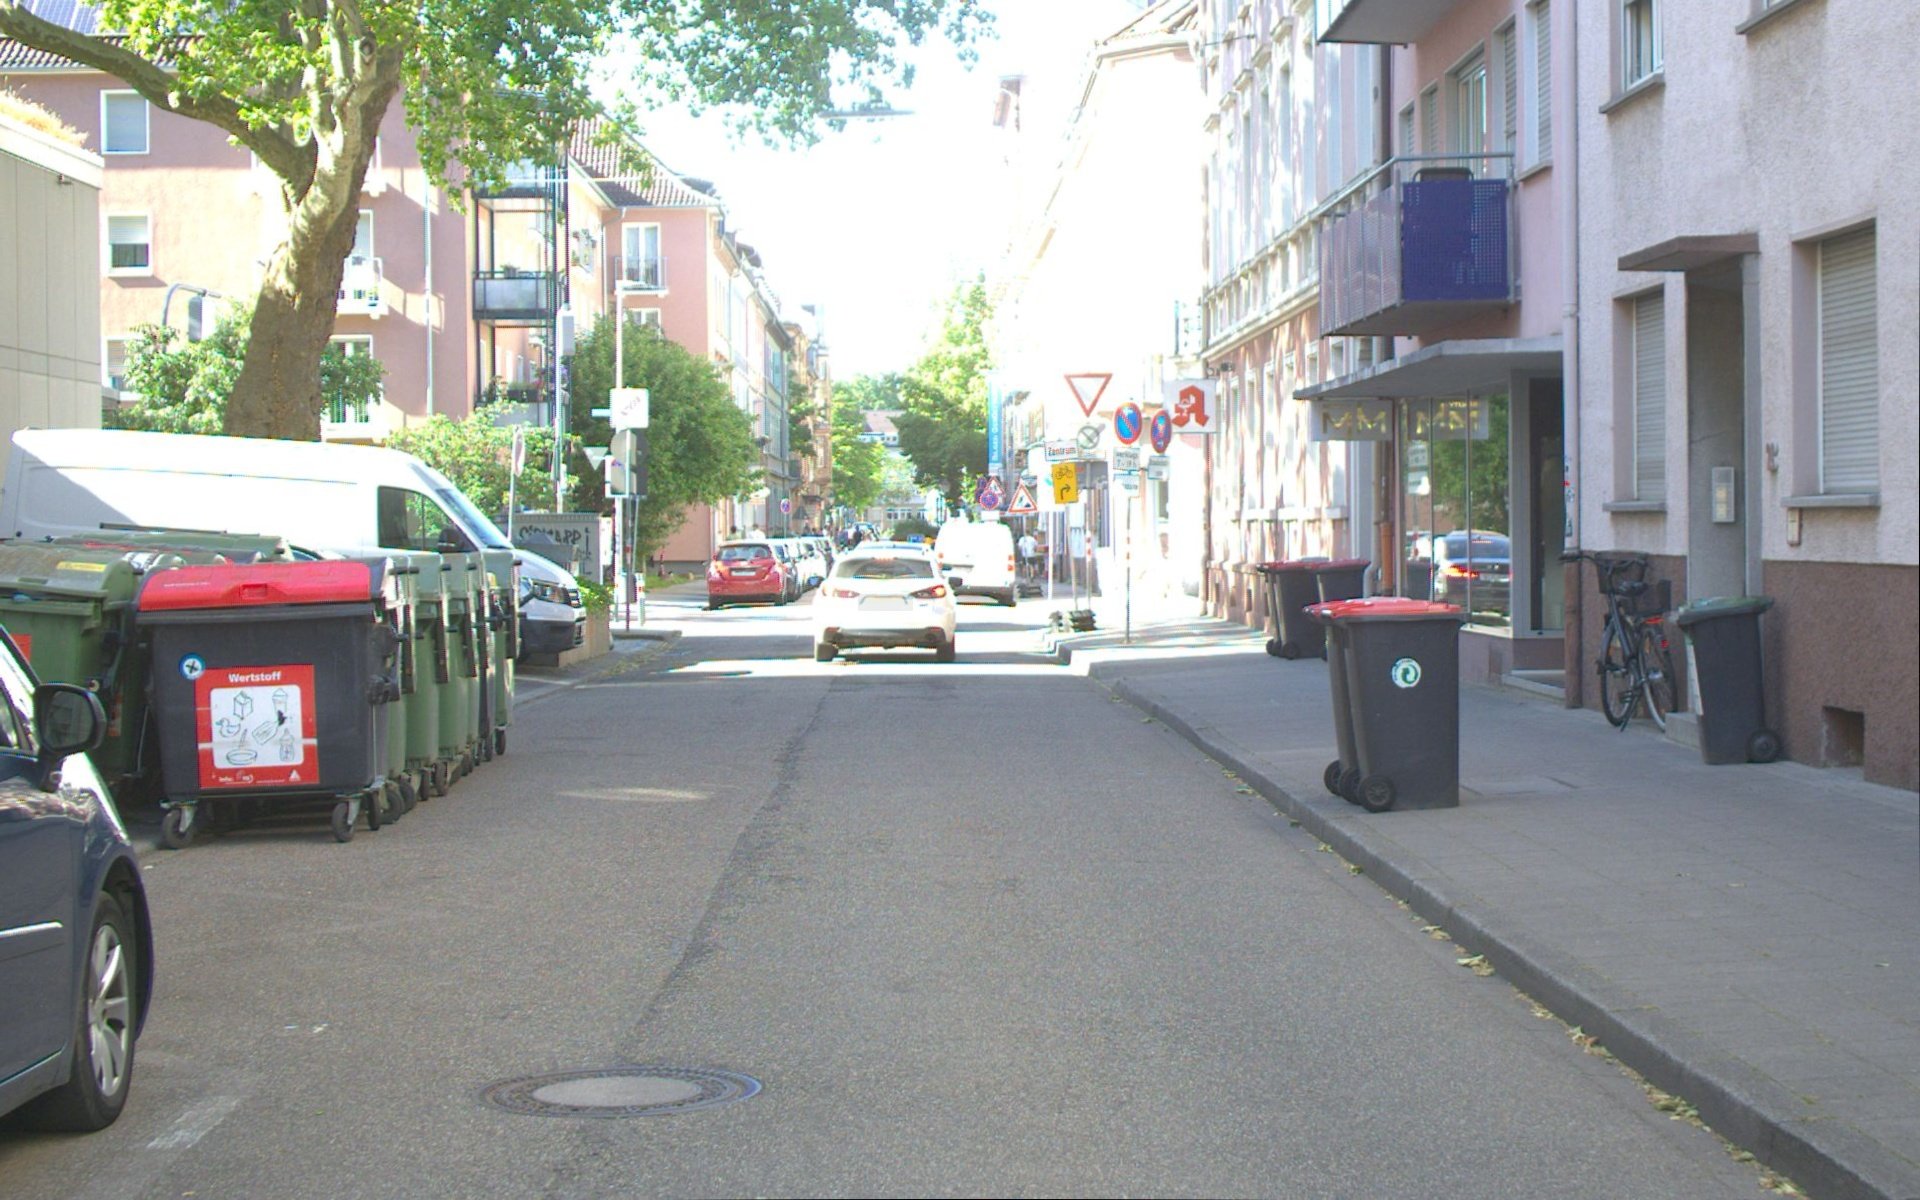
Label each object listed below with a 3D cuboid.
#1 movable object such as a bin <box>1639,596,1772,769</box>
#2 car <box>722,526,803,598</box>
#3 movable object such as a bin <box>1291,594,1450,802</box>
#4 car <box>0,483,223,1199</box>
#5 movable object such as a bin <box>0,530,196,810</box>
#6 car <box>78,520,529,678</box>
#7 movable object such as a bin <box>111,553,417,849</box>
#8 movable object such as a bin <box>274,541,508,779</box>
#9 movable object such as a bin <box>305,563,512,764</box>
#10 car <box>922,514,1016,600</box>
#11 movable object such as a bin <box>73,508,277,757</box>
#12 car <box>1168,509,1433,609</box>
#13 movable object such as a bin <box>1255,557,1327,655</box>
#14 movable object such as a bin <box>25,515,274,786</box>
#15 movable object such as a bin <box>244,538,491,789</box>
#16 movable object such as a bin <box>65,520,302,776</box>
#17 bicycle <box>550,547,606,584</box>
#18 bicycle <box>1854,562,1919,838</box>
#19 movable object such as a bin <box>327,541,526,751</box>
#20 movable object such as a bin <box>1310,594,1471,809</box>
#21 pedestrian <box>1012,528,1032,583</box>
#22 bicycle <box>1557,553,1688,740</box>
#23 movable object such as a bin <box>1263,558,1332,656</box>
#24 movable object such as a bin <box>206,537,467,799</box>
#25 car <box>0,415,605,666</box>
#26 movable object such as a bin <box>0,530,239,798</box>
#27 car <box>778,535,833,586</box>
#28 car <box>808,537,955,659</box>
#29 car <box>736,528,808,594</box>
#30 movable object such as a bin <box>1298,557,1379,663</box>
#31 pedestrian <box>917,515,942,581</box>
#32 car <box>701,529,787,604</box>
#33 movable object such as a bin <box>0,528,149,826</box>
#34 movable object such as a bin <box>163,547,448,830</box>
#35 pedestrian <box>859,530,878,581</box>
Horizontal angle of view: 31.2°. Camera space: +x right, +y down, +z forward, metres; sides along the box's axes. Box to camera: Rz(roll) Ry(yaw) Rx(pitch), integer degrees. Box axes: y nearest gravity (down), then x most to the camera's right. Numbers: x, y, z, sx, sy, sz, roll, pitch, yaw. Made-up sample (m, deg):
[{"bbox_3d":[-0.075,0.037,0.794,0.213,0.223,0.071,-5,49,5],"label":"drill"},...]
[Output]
[{"bbox_3d":[4.201,0.458,19.400,0.598,0.948,0.682,0,0,0],"label":"movable object such as a bin"},{"bbox_3d":[-4.729,-0.914,82.809,1.720,1.677,3.726,0,1,0],"label":"car"},{"bbox_3d":[2.191,0.514,18.418,0.768,1.083,0.693,0,0,0],"label":"movable object such as a bin"},{"bbox_3d":[-3.014,0.595,7.575,1.782,1.661,4.671,-2,1,-1],"label":"car"},{"bbox_3d":[-4.989,0.369,18.963,1.305,1.494,1.157,0,0,-1],"label":"movable object such as a bin"},{"bbox_3d":[-7.124,-0.033,37.641,4.500,1.465,1.929,3,1,1],"label":"car"},{"bbox_3d":[-3.578,0.502,17.810,1.319,1.445,1.187,-2,0,-1],"label":"movable object such as a bin"},{"bbox_3d":[-3.645,0.372,22.132,1.334,1.486,1.082,0,0,-1],"label":"movable object such as a bin"},{"bbox_3d":[-3.708,0.415,23.223,1.241,1.317,1.046,0,0,-1],"label":"movable object such as a bin"},{"bbox_3d":[0.188,-1.013,80.455,1.942,1.941,4.079,1,1,-3],"label":"car"},{"bbox_3d":[-5.320,0.212,23.372,1.227,1.647,1.174,0,0,-6],"label":"movable object such as a bin"},{"bbox_3d":[6.851,-0.824,69.172,4.896,1.922,1.997,1,-1,24],"label":"car"},{"bbox_3d":[3.707,0.059,38.523,0.745,1.082,0.635,0,0,1],"label":"movable object such as a bin"},{"bbox_3d":[-4.943,0.300,21.042,1.294,1.615,1.018,0,0,-1],"label":"movable object such as a bin"},{"bbox_3d":[-3.611,0.375,21.063,1.343,1.494,1.018,0,0,-1],"label":"movable object such as a bin"},{"bbox_3d":[-4.976,0.298,22.107,1.288,1.599,1.082,0,0,-1],"label":"movable object such as a bin"},{"bbox_3d":[-9.837,-0.889,88.469,0.603,0.929,1.915,-1,1,-34],"label":"bicycle"},{"bbox_3d":[4.376,0.435,14.521,0.536,1.166,2.077,-4,1,-1],"label":"bicycle"},{"bbox_3d":[-3.754,0.314,24.321,1.300,1.446,1.118,0,0,-4],"label":"movable object such as a bin"},{"bbox_3d":[2.209,0.513,17.704,0.732,1.077,0.703,0,0,0],"label":"movable object such as a bin"},{"bbox_3d":[1.953,-1.412,108.281,0.617,1.727,0.560,0,0,-1],"label":"pedestrian"},{"bbox_3d":[4.247,0.276,22.138,0.453,1.130,1.920,-3,1,1],"label":"bicycle"},{"bbox_3d":[3.715,0.072,37.891,0.701,1.069,0.596,0,0,1],"label":"movable object such as a bin"},{"bbox_3d":[-3.615,0.383,20.028,1.348,1.482,1.003,0,0,-1],"label":"movable object such as a bin"},{"bbox_3d":[-7.724,-0.694,40.428,6.739,2.546,2.146,3,0,1],"label":"car"},{"bbox_3d":[-4.955,0.360,20.040,1.302,1.517,1.018,0,0,-1],"label":"movable object such as a bin"},{"bbox_3d":[-4.904,-1.245,109.430,1.572,1.580,3.611,0,0,0],"label":"car"},{"bbox_3d":[-1.034,-0.058,45.016,1.823,1.509,3.824,0,1,-1],"label":"car"},{"bbox_3d":[-4.813,-0.997,88.323,1.635,1.650,3.785,0,0,0],"label":"car"},{"bbox_3d":[3.951,0.100,35.948,0.729,1.100,0.693,0,0,-3],"label":"movable object such as a bin"},{"bbox_3d":[-0.986,-1.671,110.436,0.771,2.111,0.835,0,0,0],"label":"pedestrian"},{"bbox_3d":[-4.837,-0.771,77.211,1.769,1.583,3.726,0,2,-1],"label":"car"},{"bbox_3d":[-4.981,0.381,17.804,1.296,1.493,1.179,0,0,-1],"label":"movable object such as a bin"},{"bbox_3d":[-3.591,0.468,18.984,1.334,1.479,1.093,-2,0,-1],"label":"movable object such as a bin"},{"bbox_3d":[-3.186,-1.557,120.022,0.647,1.791,0.639,0,0,0],"label":"pedestrian"}]
